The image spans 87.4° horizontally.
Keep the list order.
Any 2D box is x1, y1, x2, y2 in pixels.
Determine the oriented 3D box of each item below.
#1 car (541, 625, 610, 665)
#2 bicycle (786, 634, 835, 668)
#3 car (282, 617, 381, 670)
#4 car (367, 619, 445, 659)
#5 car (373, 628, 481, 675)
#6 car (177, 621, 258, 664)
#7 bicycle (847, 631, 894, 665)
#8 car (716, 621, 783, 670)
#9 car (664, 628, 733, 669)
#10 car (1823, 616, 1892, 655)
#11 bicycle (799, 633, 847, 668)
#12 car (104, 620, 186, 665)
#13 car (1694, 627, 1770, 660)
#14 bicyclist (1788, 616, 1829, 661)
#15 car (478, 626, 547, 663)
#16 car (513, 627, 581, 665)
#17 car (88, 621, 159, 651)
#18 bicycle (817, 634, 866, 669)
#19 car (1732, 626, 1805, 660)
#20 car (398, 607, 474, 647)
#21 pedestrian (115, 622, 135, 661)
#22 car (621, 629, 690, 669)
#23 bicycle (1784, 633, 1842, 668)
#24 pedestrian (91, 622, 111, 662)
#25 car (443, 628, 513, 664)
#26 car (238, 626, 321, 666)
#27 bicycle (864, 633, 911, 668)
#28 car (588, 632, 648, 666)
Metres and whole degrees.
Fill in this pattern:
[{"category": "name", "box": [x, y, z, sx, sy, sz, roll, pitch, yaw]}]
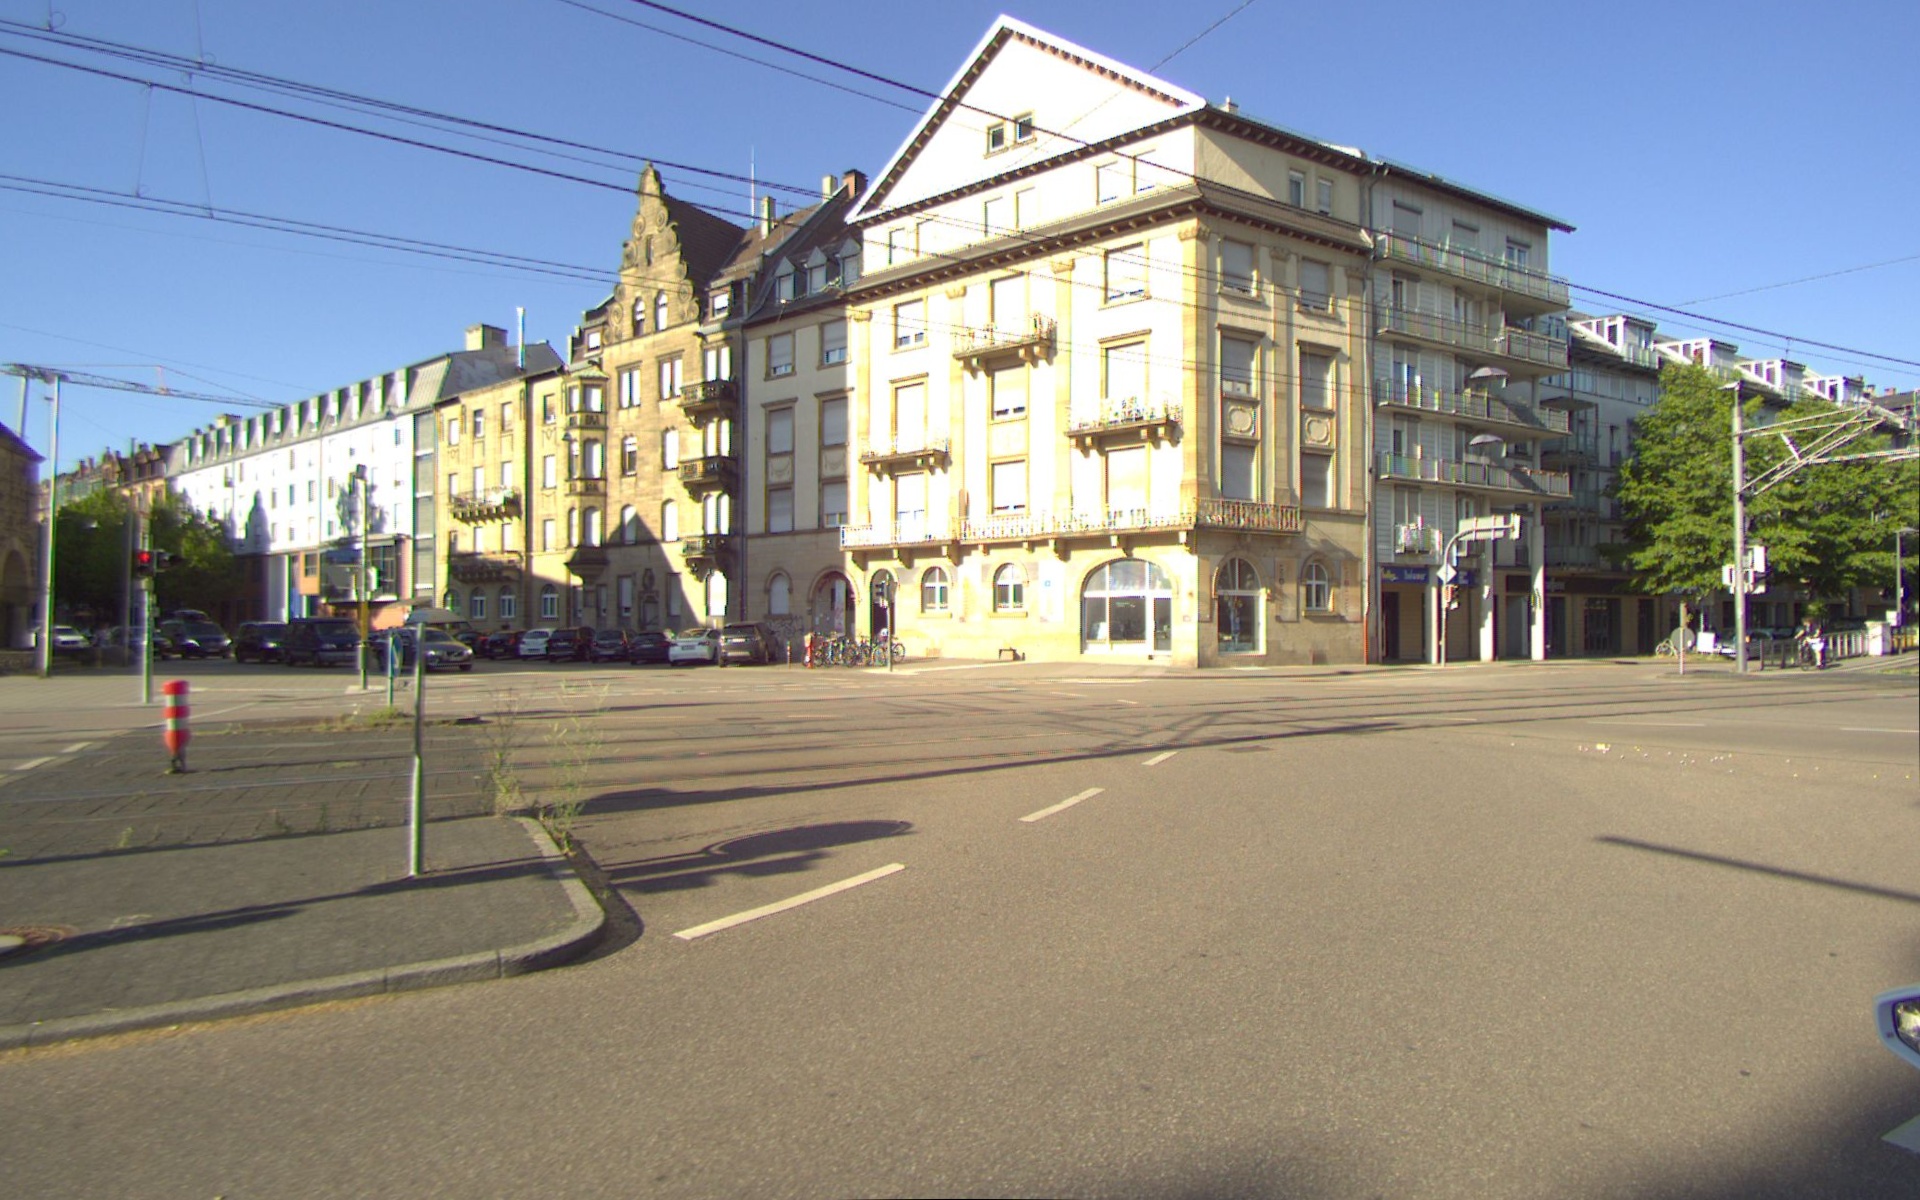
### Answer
[{"category": "car", "box": [-17.964, 2.061, 47.137, 1.813, 1.541, 3.998, -3, 1, -3]}, {"category": "bicycle", "box": [-5.724, 1.951, 38.566, 0.520, 1.206, 2.119, 1, 0, 36]}, {"category": "car", "box": [-25.622, 1.720, 40.896, 4.418, 1.893, 1.992, 1, 0, 38]}, {"category": "car", "box": [-31.106, 2.150, 56.544, 1.750, 1.929, 4.001, -3, 1, 6]}, {"category": "car", "box": [-19.076, 1.804, 35.916, 4.218, 1.438, 1.835, 1, 0, 38]}, {"category": "car", "box": [-36.581, 2.050, 49.454, 4.831, 1.893, 1.992, 1, 0, 38]}, {"category": "bicycle", "box": [-3.357, 1.781, 37.716, 0.520, 1.206, 2.120, 1, 0, 34]}, {"category": "car", "box": [-8.324, 1.772, 40.030, 1.962, 1.606, 3.998, -3, 1, -3]}, {"category": "car", "box": [-10.839, 1.982, 41.910, 1.962, 1.374, 3.998, -3, 1, -3]}, {"category": "car", "box": [53.304, 2.071, 59.658, 3.740, 2.195, 1.931, 1, 0, -30]}, {"category": "bicycle", "box": [-5.167, 1.895, 37.954, 0.520, 1.206, 2.120, 1, 0, 34]}, {"category": "car", "box": [-38.792, 1.965, 47.781, 4.831, 1.893, 1.992, 1, 0, 38]}, {"category": "car", "box": [39.853, 2.208, 51.830, 3.740, 1.599, 1.798, 1, 0, -30]}, {"category": "bicyclist", "box": [26.730, 1.206, 31.633, 1.003, 1.390, 0.533, 0, 0, -18]}, {"category": "car", "box": [-22.461, 2.187, 50.561, 1.813, 1.541, 3.998, -3, 1, -3]}, {"category": "car", "box": [-20.255, 2.225, 49.441, 1.813, 1.541, 3.998, -3, 1, -3]}, {"category": "car", "box": [-63.941, 2.732, 76.843, 1.750, 1.929, 4.001, -3, 1, 6]}, {"category": "bicycle", "box": [-4.421, 1.923, 37.648, 0.544, 1.206, 2.120, 1, 0, 34]}, {"category": "car", "box": [43.407, 2.304, 53.934, 3.740, 1.699, 1.798, 1, 0, -30]}, {"category": "car", "box": [-29.023, 1.462, 55.784, 1.750, 1.929, 4.001, -3, 1, 6]}, {"category": "pedestrian", "box": [-35.828, 1.785, 43.101, 0.647, 1.642, 0.462, 1, 1, -43]}, {"category": "car", "box": [-13.265, 2.110, 43.983, 1.962, 1.374, 3.998, -3, 1, -3]}, {"category": "bicycle", "box": [26.919, 1.581, 31.695, 1.796, 1.068, 0.533, 0, 0, -18]}, {"category": "pedestrian", "box": [-36.292, 1.778, 42.449, 0.647, 1.643, 0.462, 0, 3, -40]}, {"category": "car", "box": [-24.923, 2.362, 52.088, 1.813, 1.541, 3.998, -3, 1, -3]}, {"category": "car", "box": [-30.256, 2.014, 44.619, 4.272, 1.523, 1.835, 1, 0, 38]}, {"category": "bicycle", "box": [-2.686, 1.864, 37.512, 0.520, 1.206, 2.120, 1, 0, 34]}, {"category": "car", "box": [-15.564, 2.221, 45.839, 1.560, 1.227, 3.789, -3, 1, -3]}]
